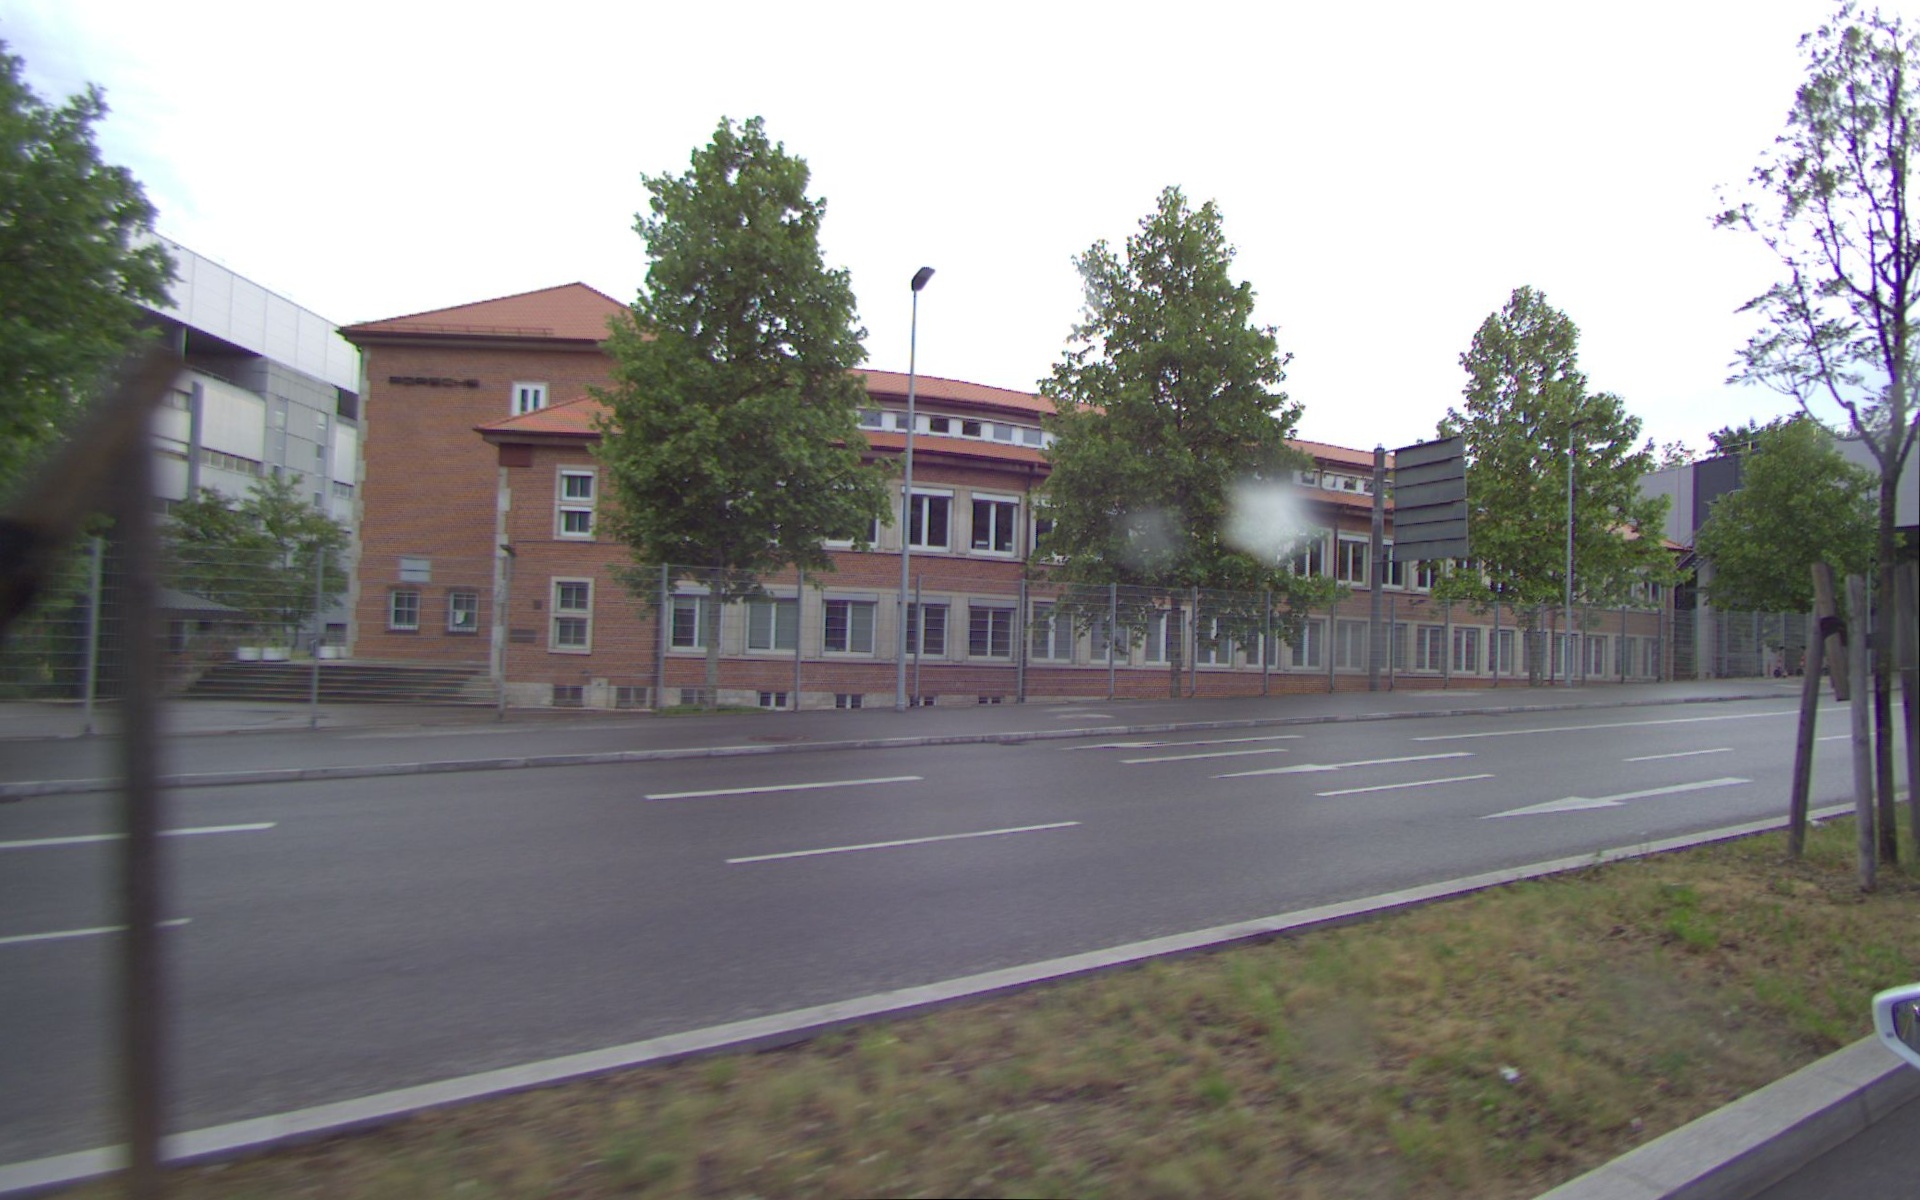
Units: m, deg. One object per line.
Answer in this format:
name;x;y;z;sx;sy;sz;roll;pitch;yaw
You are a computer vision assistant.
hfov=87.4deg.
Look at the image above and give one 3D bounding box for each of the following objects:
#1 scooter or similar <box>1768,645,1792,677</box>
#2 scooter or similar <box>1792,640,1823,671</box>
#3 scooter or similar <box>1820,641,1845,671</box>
scooter or similar;32.327;2.388;39.593;1.292;1.234;0.310;1;-2;-31
scooter or similar;34.508;2.247;40.904;1.287;1.234;0.311;1;-2;-19
scooter or similar;36.558;2.358;42.090;1.290;1.234;0.310;1;-2;-26
